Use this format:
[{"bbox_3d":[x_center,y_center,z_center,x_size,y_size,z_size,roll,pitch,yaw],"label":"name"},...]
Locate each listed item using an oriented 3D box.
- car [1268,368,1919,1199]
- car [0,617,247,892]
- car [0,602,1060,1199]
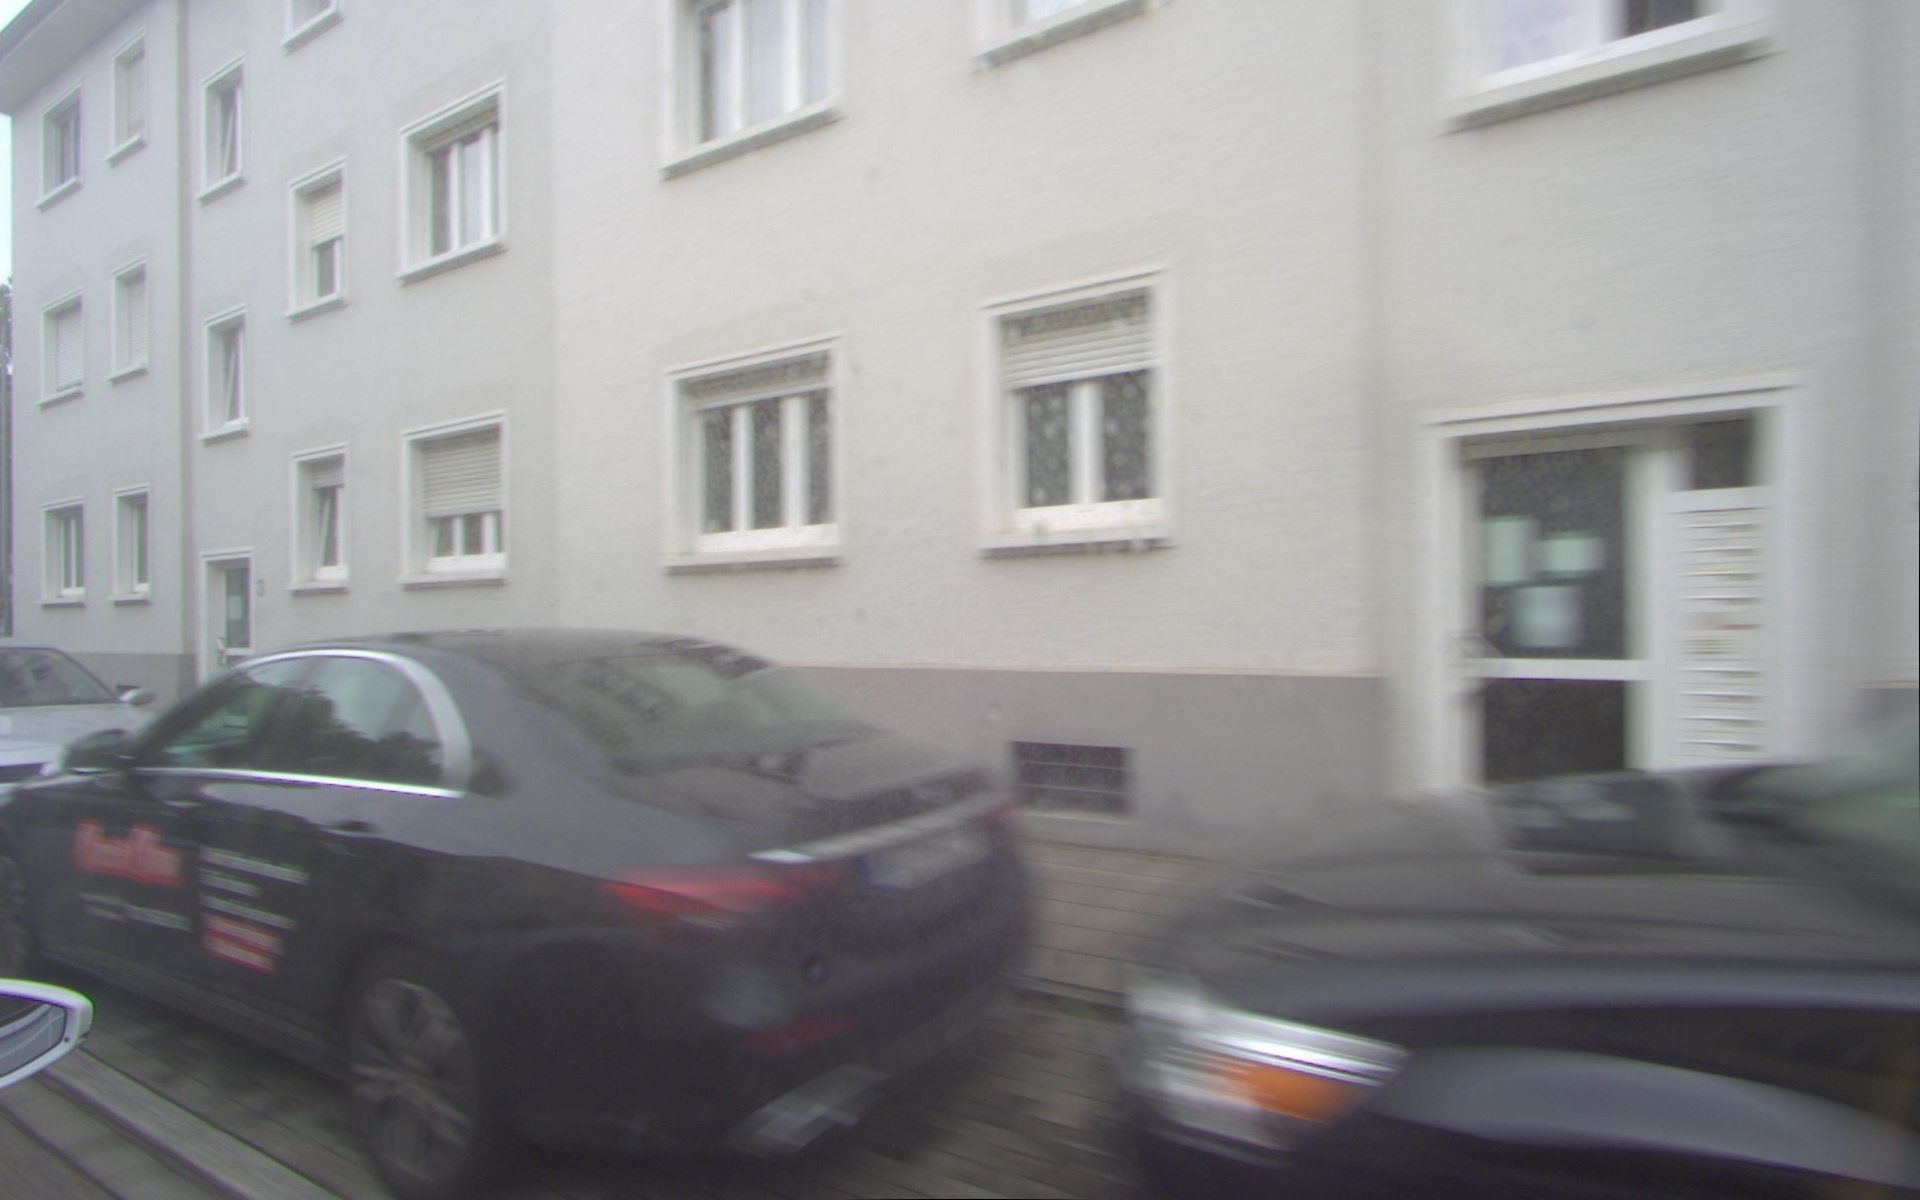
[{"bbox_3d":[2.564,0.596,1.025,4.029,1.624,1.819,-1,-1,29],"label":"car"},{"bbox_3d":[-7.165,0.921,7.092,4.606,1.539,1.817,-1,-2,32],"label":"car"},{"bbox_3d":[-2.075,0.830,3.943,4.606,1.539,1.817,-1,-1,32],"label":"car"}]
